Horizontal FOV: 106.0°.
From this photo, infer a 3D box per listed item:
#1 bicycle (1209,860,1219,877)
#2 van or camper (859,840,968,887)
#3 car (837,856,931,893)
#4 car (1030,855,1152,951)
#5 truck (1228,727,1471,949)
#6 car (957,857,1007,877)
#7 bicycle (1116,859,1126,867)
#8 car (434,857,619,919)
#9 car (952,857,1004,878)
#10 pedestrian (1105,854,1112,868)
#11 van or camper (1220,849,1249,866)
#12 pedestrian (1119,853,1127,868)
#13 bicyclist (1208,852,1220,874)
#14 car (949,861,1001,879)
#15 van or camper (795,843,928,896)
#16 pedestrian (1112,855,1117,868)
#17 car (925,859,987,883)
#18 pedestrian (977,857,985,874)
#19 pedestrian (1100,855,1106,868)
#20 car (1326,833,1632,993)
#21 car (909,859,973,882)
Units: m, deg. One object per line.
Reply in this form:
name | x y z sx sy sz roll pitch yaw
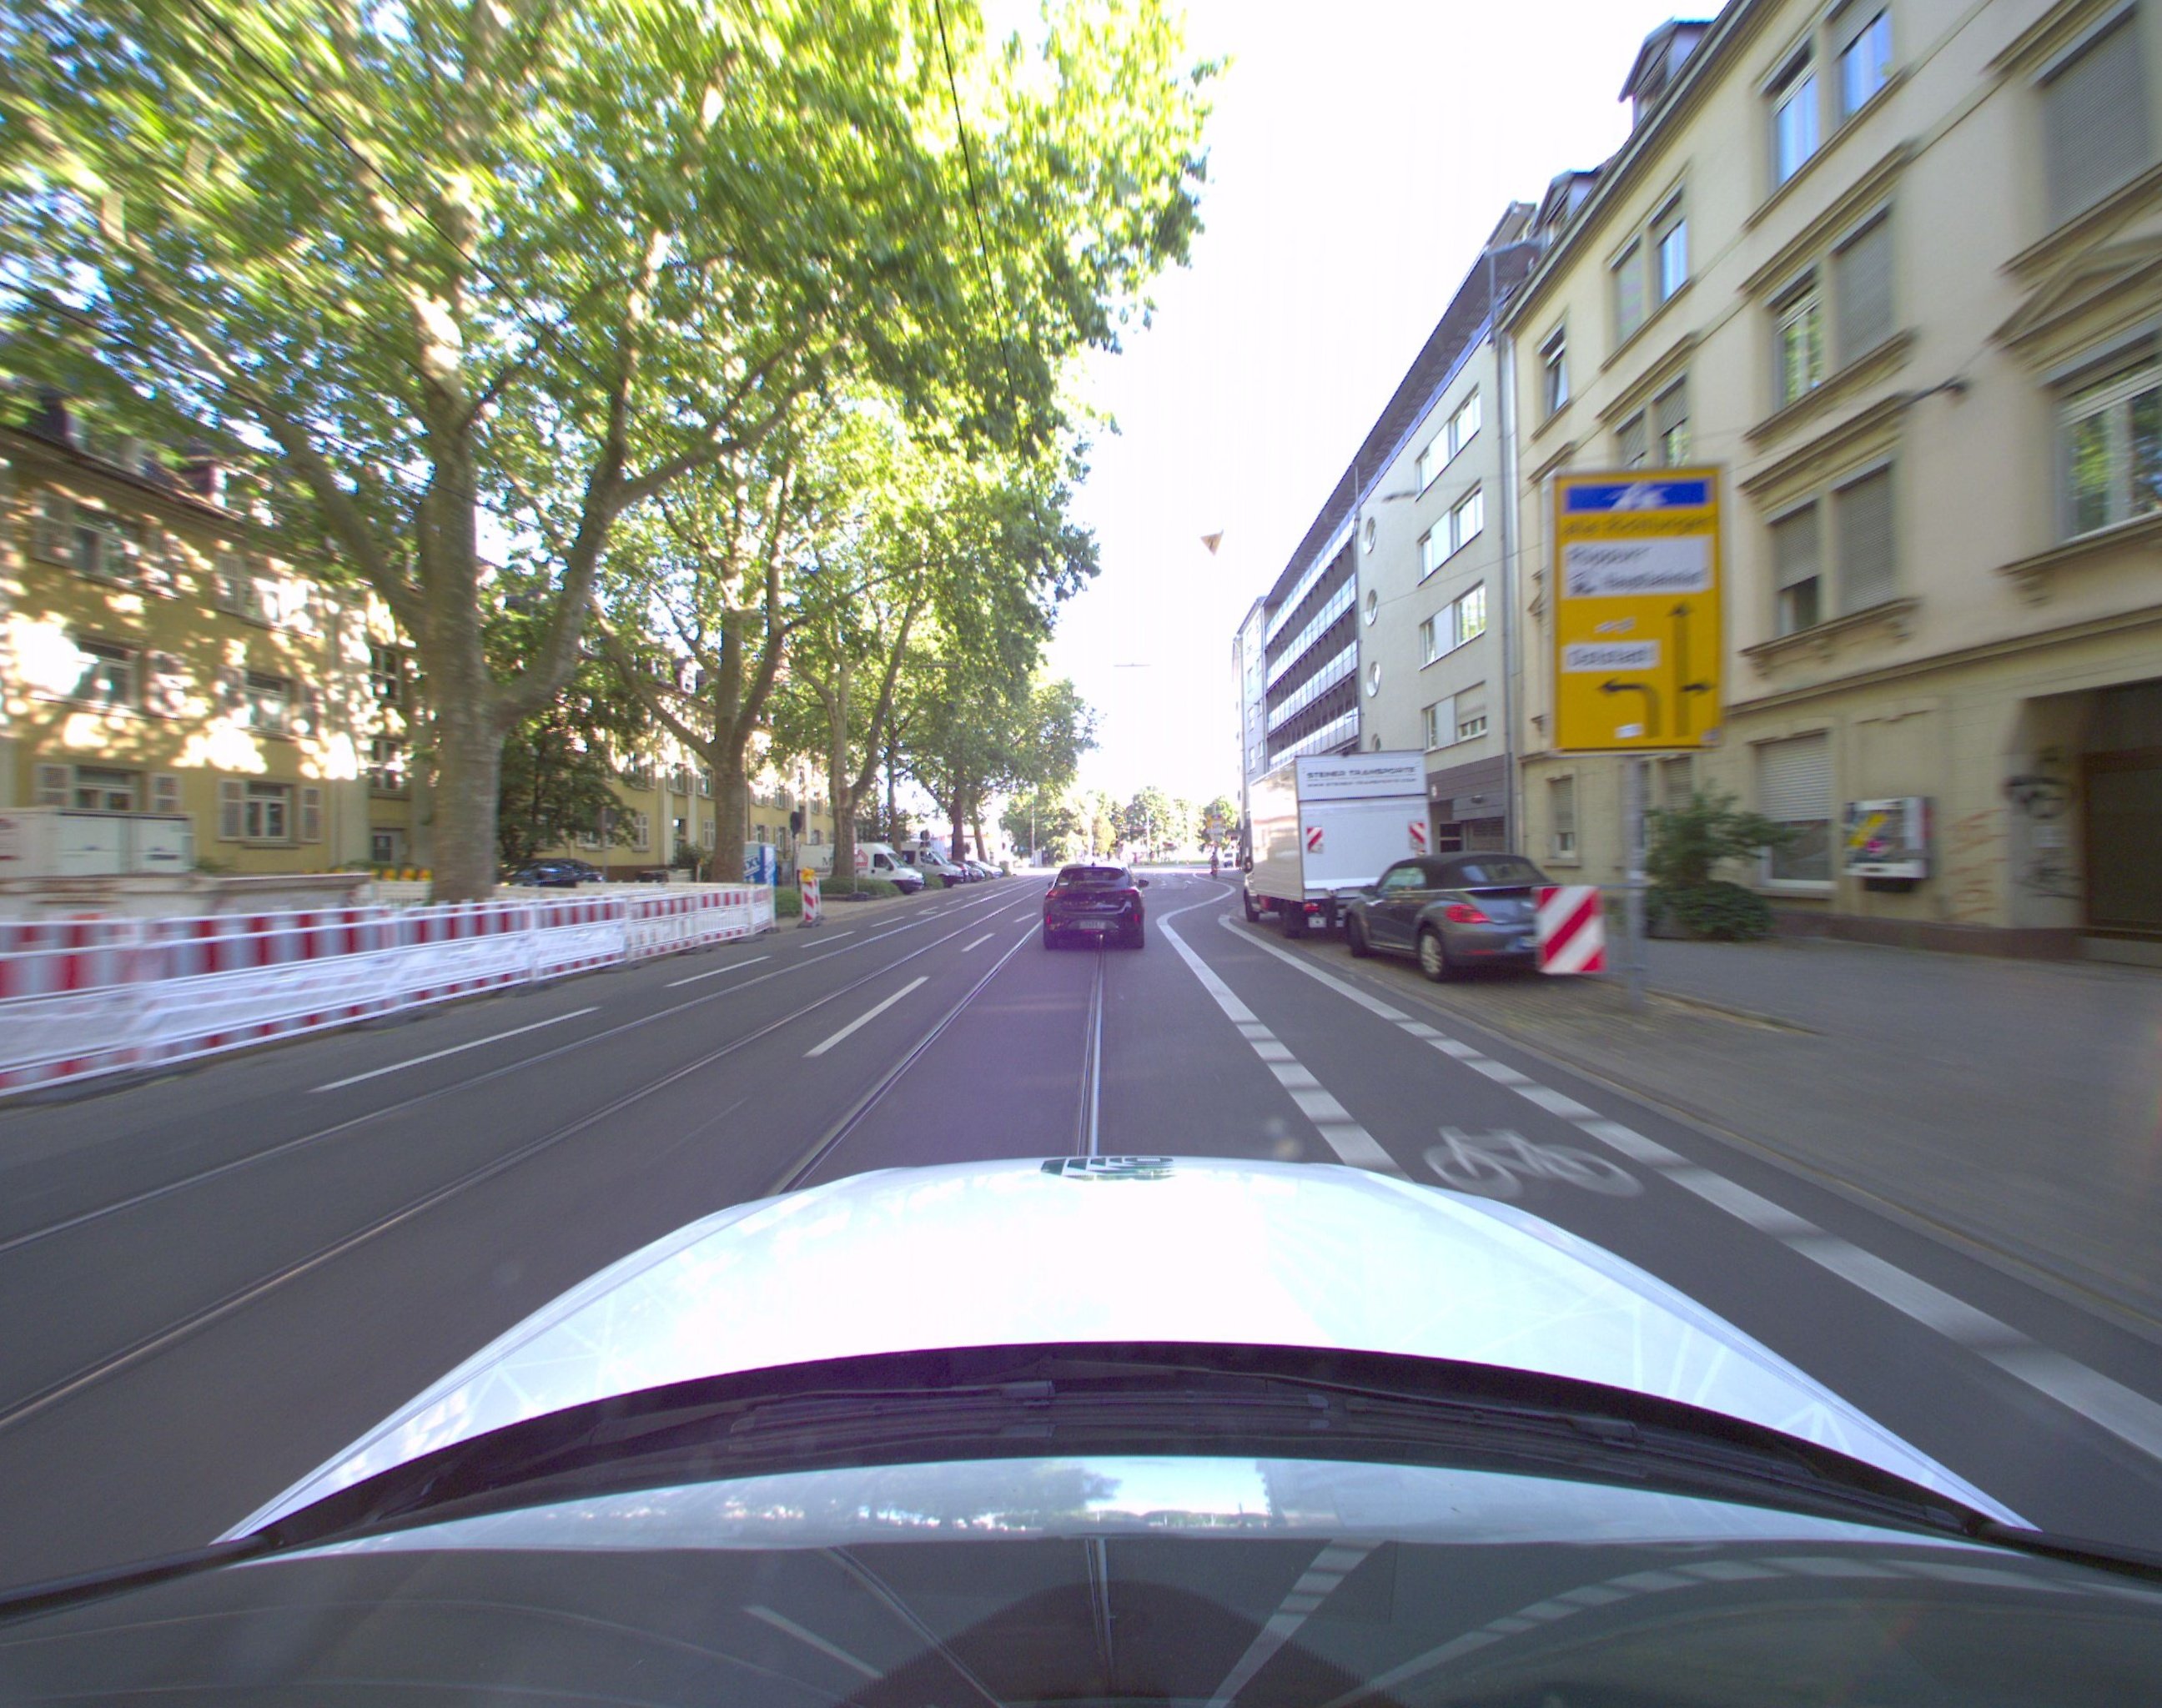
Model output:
bicycle | 8.737 0.963 53.438 0.504 1.067 1.570 -1 0 14
van or camper | -9.569 0.530 46.836 5.702 2.644 2.270 0 -1 2
car | -9.753 0.994 40.494 4.156 1.671 1.963 -1 0 -2
car | 0.325 0.773 14.790 1.772 1.496 4.008 0 0 7
truck | 4.874 -0.233 16.429 2.529 3.338 7.197 -4 0 2
car | -8.723 1.161 71.818 4.156 1.671 1.963 -1 0 -2
bicycle | 5.232 1.143 106.626 0.782 0.992 2.254 0 0 18
car | -15.480 0.876 23.104 1.780 1.571 4.529 0 0 7
car | -8.736 1.140 69.303 4.156 1.671 1.963 -1 0 -2
pedestrian | 3.883 1.020 115.336 0.651 1.932 0.613 -1 -1 33
van or camper | 19.884 0.421 105.247 2.147 2.146 4.534 0 -1 32
pedestrian | 4.086 0.624 78.910 0.649 1.363 0.646 -1 -1 8
bicyclist | 8.743 0.587 53.474 0.701 1.435 0.705 -1 -1 14
car | -8.622 1.293 66.381 3.971 1.515 1.651 0 -1 2
van or camper | -10.060 0.693 37.594 5.475 2.379 2.272 0 -1 5
pedestrian | 4.732 1.066 115.150 0.610 1.854 0.587 0 -1 26
car | -8.748 1.179 57.191 3.971 1.651 1.651 0 -1 2
pedestrian | -13.312 1.539 108.548 0.824 2.221 0.890 0 -1 -33
pedestrian | 3.079 1.067 115.036 0.610 1.854 0.587 0 -1 26
car | 4.801 0.631 10.600 1.727 1.557 4.147 -4 0 -3
car | -9.352 1.079 54.700 3.971 1.515 1.651 0 -1 2
